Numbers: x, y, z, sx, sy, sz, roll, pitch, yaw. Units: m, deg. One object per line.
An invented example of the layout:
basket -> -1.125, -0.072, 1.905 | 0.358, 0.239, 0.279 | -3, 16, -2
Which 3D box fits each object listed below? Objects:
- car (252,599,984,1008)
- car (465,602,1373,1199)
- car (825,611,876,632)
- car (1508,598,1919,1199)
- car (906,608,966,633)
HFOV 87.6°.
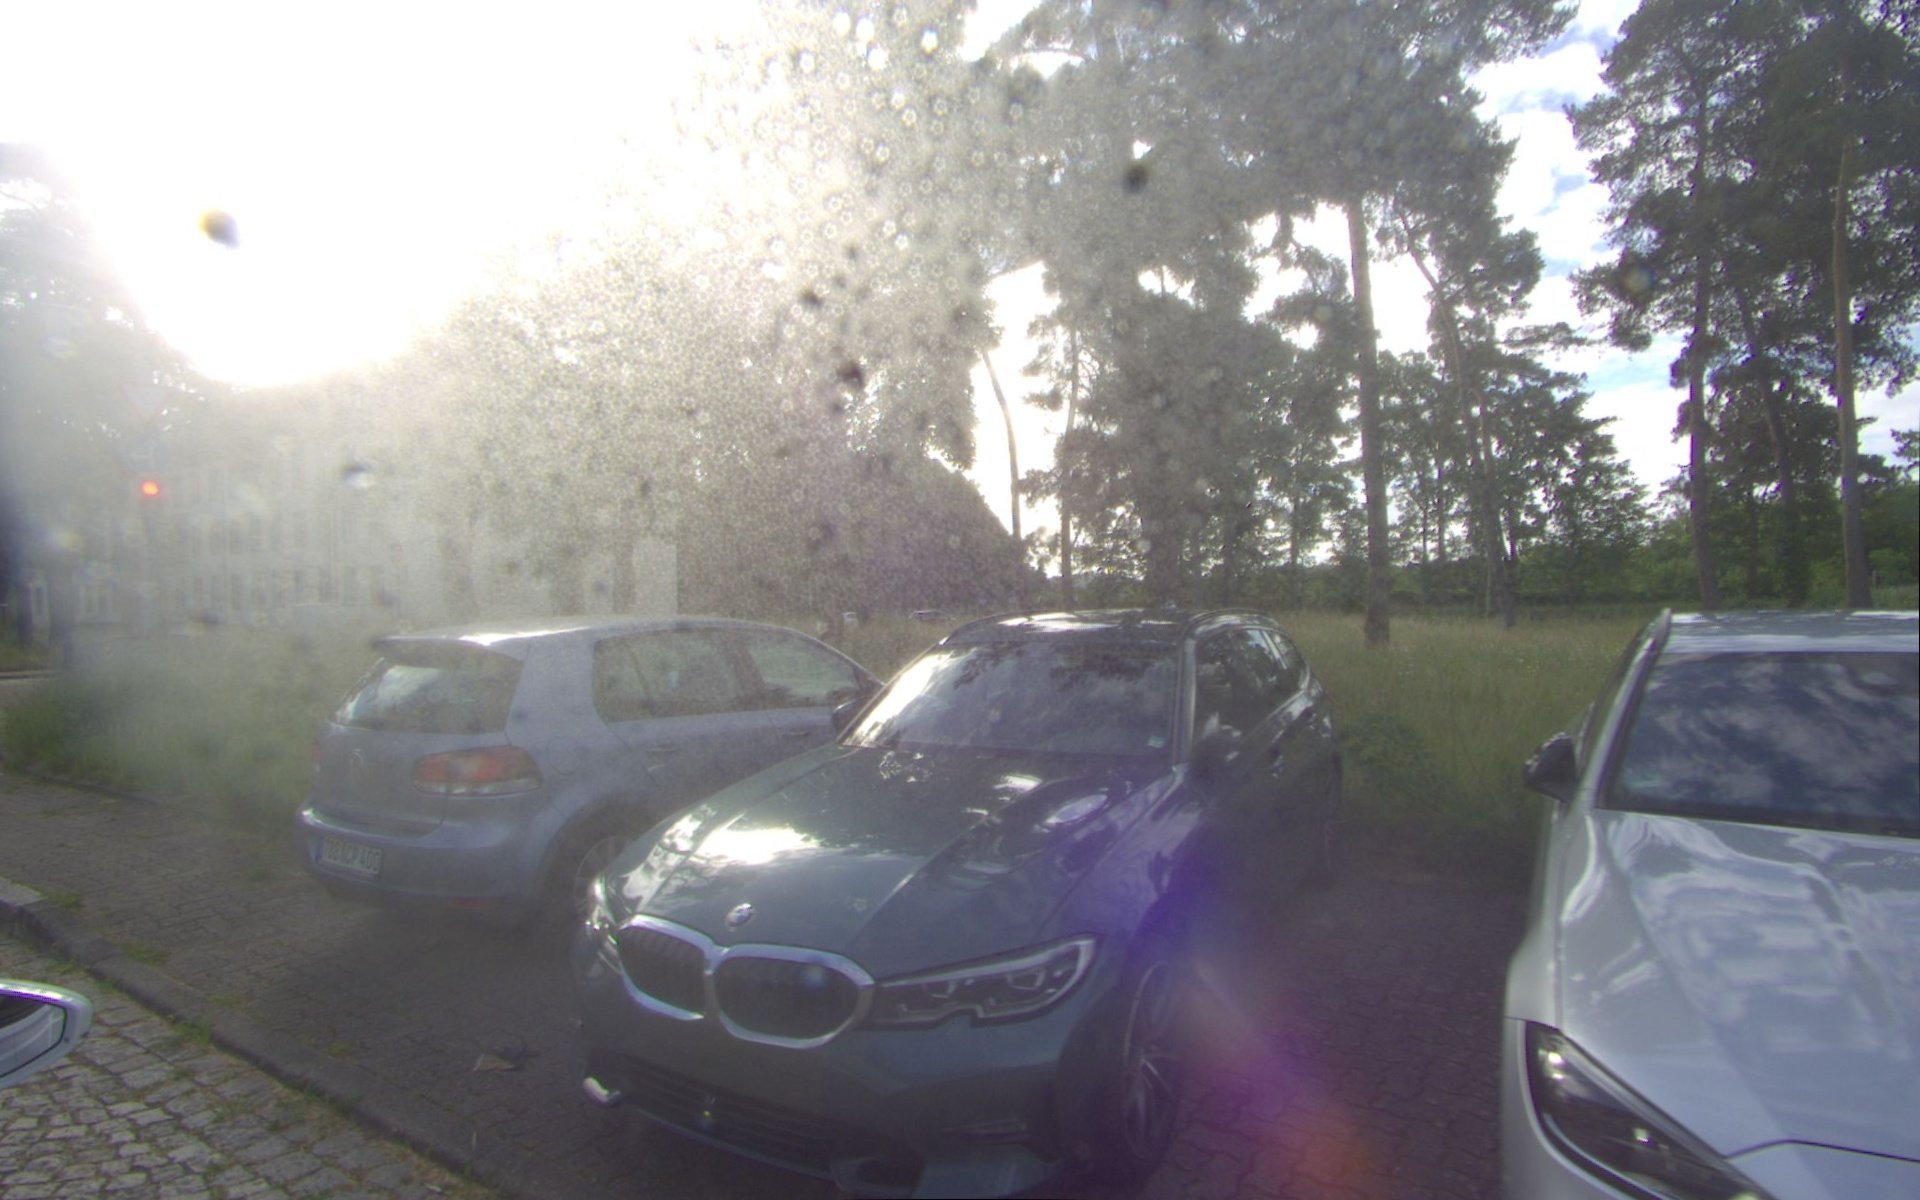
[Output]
car -> -1.537, 0.765, 5.781 | 1.618, 1.490, 3.834 | 0, 0, 32
car -> 0.501, 0.768, 4.328 | 1.781, 1.503, 4.506 | 0, 0, 30
car -> -7.935, 1.562, 73.136 | 1.541, 1.415, 3.980 | -1, -3, 33
car -> 2.730, 0.744, 2.949 | 1.741, 1.448, 4.316 | 0, 0, 32
car -> -1.660, 1.360, 67.645 | 3.922, 1.622, 2.000 | 0, 0, -4
